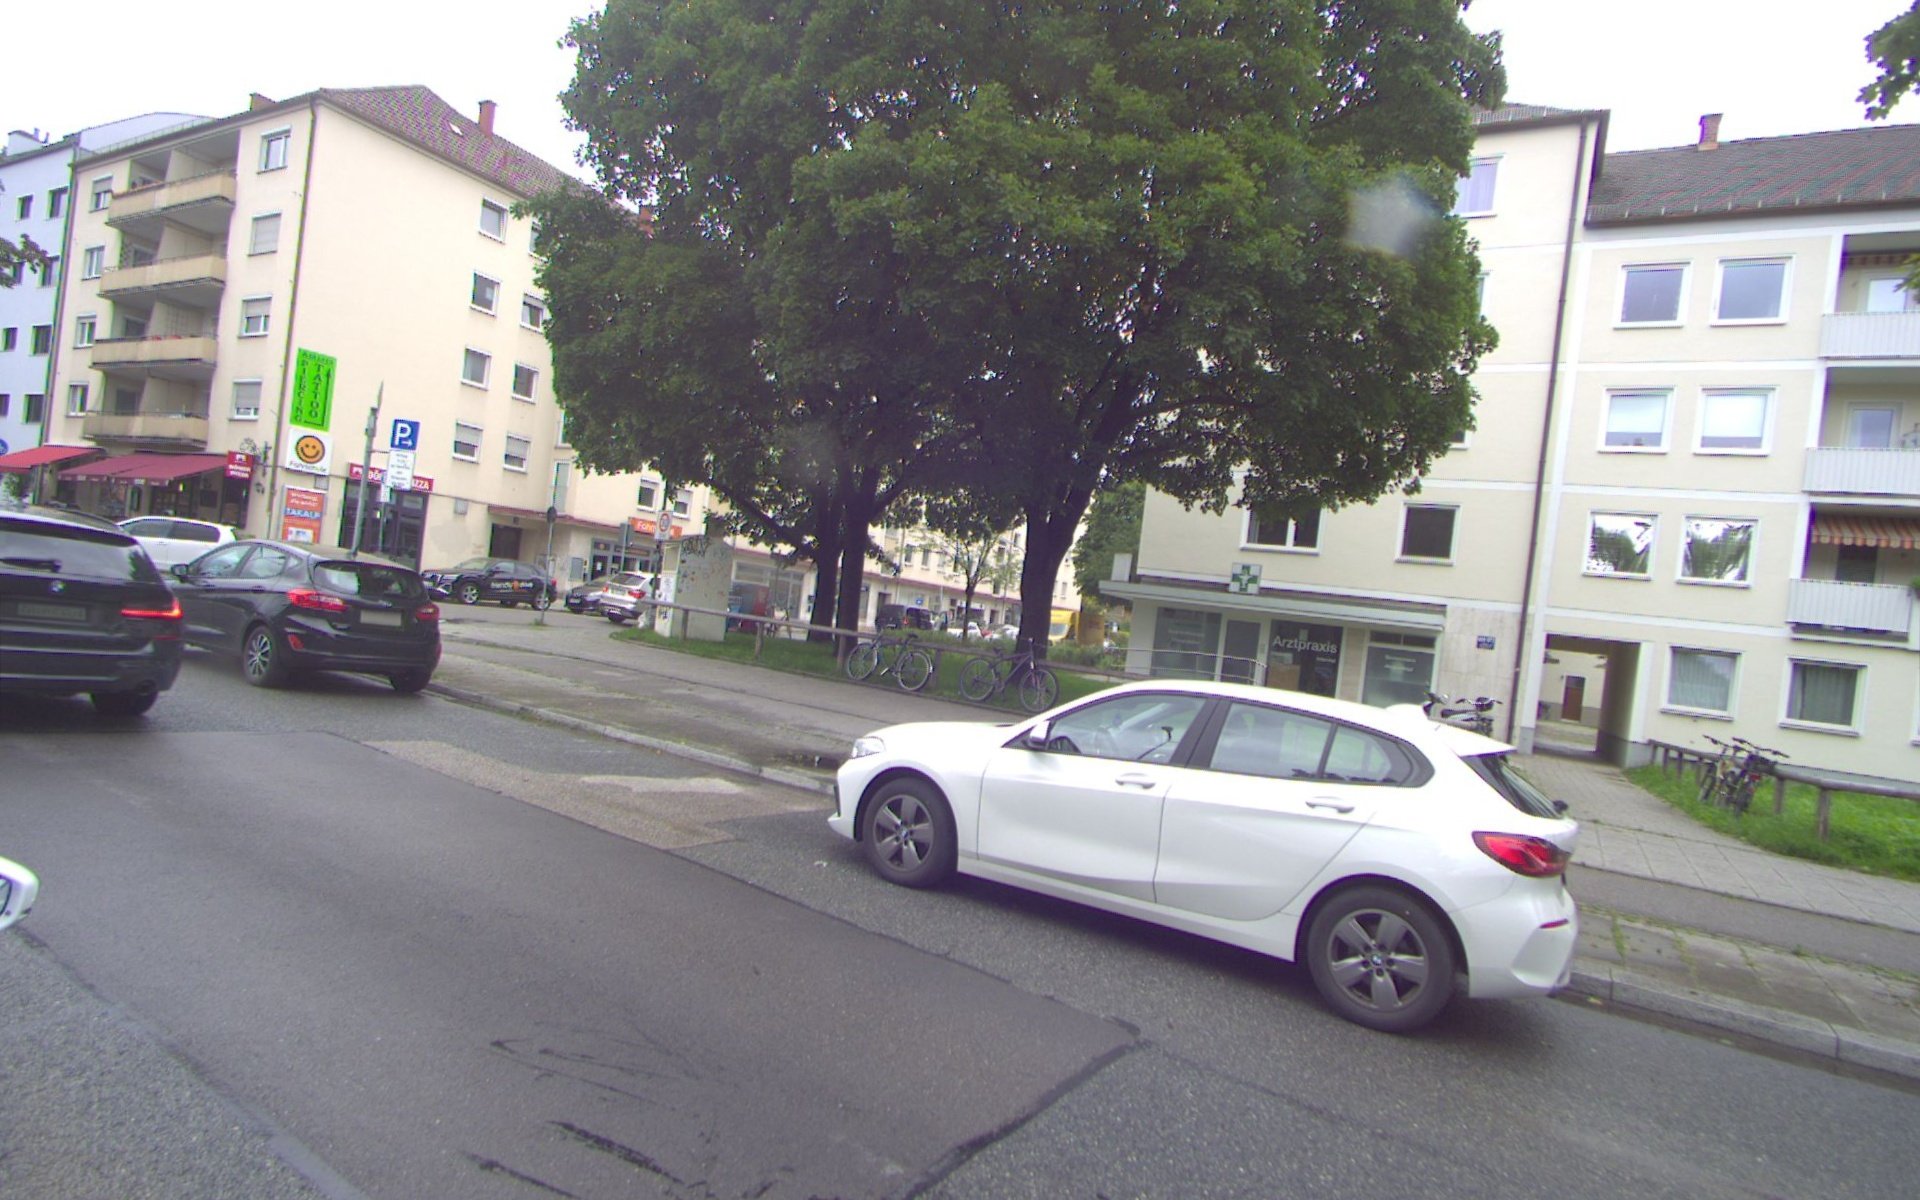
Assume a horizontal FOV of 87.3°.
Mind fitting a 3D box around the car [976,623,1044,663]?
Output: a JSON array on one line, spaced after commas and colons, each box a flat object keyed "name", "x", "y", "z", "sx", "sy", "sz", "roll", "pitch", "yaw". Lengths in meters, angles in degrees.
[{"name": "car", "x": 2.870, "y": 2.431, "z": 56.450, "sx": 1.839, "sy": 1.679, "sz": 4.740, "roll": 7, "pitch": -3, "yaw": 27}]

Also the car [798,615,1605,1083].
[{"name": "car", "x": 1.247, "y": 1.141, "z": 5.921, "sx": 4.067, "sy": 1.481, "sz": 1.687, "roll": 7, "pitch": -3, "yaw": 31}]

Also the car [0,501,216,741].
[{"name": "car", "x": -7.571, "y": -0.069, "z": 7.380, "sx": 4.388, "sy": 1.429, "sz": 1.762, "roll": 7, "pitch": -2, "yaw": 31}]

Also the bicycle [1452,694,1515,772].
[{"name": "bicycle", "x": 7.437, "y": 1.872, "z": 14.248, "sx": 0.549, "sy": 0.950, "sz": 1.880, "roll": 7, "pitch": -2, "yaw": 33}]

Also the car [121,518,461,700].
[{"name": "car", "x": -7.427, "y": 0.076, "z": 11.111, "sx": 3.613, "sy": 1.482, "sz": 1.621, "roll": 7, "pitch": -2, "yaw": 31}]

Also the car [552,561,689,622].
[{"name": "car", "x": -11.929, "y": -0.265, "z": 35.649, "sx": 1.839, "sy": 1.681, "sz": 4.401, "roll": 7, "pitch": 0, "yaw": 28}]

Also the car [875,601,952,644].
[{"name": "car", "x": -2.417, "y": 1.226, "z": 53.813, "sx": 1.839, "sy": 1.679, "sz": 4.750, "roll": 7, "pitch": -2, "yaw": 27}]

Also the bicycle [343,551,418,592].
[{"name": "bicycle", "x": -17.383, "y": -0.838, "z": 30.215, "sx": 0.548, "sy": 0.968, "sz": 1.852, "roll": 7, "pitch": -2, "yaw": 30}]

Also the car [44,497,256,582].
[{"name": "car", "x": -18.989, "y": -1.396, "z": 23.796, "sx": 3.521, "sy": 1.434, "sz": 1.857, "roll": 8, "pitch": 0, "yaw": -30}]

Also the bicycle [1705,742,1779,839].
[{"name": "bicycle", "x": 9.454, "y": 2.270, "z": 12.205, "sx": 0.426, "sy": 0.985, "sz": 1.880, "roll": 7, "pitch": -2, "yaw": 33}]

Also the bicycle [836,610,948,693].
[{"name": "bicycle", "x": -1.122, "y": 0.823, "z": 16.374, "sx": 1.823, "sy": 1.118, "sz": 0.389, "roll": 7, "pitch": -1, "yaw": 32}]

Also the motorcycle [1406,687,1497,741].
[{"name": "motorcycle", "x": 12.168, "y": 2.822, "z": 24.942, "sx": 1.875, "sy": 1.035, "sz": 0.605, "roll": 7, "pitch": -1, "yaw": 32}]

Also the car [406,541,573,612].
[{"name": "car", "x": -14.523, "y": -0.687, "z": 31.325, "sx": 1.839, "sy": 1.681, "sz": 4.402, "roll": 7, "pitch": 0, "yaw": 27}]

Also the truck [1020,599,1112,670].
[{"name": "truck", "x": 6.064, "y": 2.049, "z": 56.502, "sx": 2.318, "sy": 3.282, "sz": 7.426, "roll": 7, "pitch": -2, "yaw": 27}]

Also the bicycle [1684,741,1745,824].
[{"name": "bicycle", "x": 10.434, "y": 2.494, "z": 13.950, "sx": 0.426, "sy": 0.985, "sz": 1.880, "roll": 7, "pitch": -2, "yaw": 33}]

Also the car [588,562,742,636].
[{"name": "car", "x": -9.213, "y": 0.025, "z": 31.784, "sx": 1.840, "sy": 1.680, "sz": 4.401, "roll": 10, "pitch": 0, "yaw": 31}]

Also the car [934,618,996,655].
[{"name": "car", "x": 0.342, "y": 2.192, "z": 59.200, "sx": 1.839, "sy": 1.679, "sz": 4.088, "roll": 7, "pitch": -2, "yaw": 27}]

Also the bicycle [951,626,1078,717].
[{"name": "bicycle", "x": 0.804, "y": 1.065, "z": 15.198, "sx": 1.852, "sy": 1.116, "sz": 0.382, "roll": 7, "pitch": -1, "yaw": 32}]

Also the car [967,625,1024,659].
[{"name": "car", "x": 2.252, "y": 2.663, "z": 63.055, "sx": 1.839, "sy": 1.679, "sz": 4.088, "roll": 7, "pitch": -2, "yaw": 27}]
